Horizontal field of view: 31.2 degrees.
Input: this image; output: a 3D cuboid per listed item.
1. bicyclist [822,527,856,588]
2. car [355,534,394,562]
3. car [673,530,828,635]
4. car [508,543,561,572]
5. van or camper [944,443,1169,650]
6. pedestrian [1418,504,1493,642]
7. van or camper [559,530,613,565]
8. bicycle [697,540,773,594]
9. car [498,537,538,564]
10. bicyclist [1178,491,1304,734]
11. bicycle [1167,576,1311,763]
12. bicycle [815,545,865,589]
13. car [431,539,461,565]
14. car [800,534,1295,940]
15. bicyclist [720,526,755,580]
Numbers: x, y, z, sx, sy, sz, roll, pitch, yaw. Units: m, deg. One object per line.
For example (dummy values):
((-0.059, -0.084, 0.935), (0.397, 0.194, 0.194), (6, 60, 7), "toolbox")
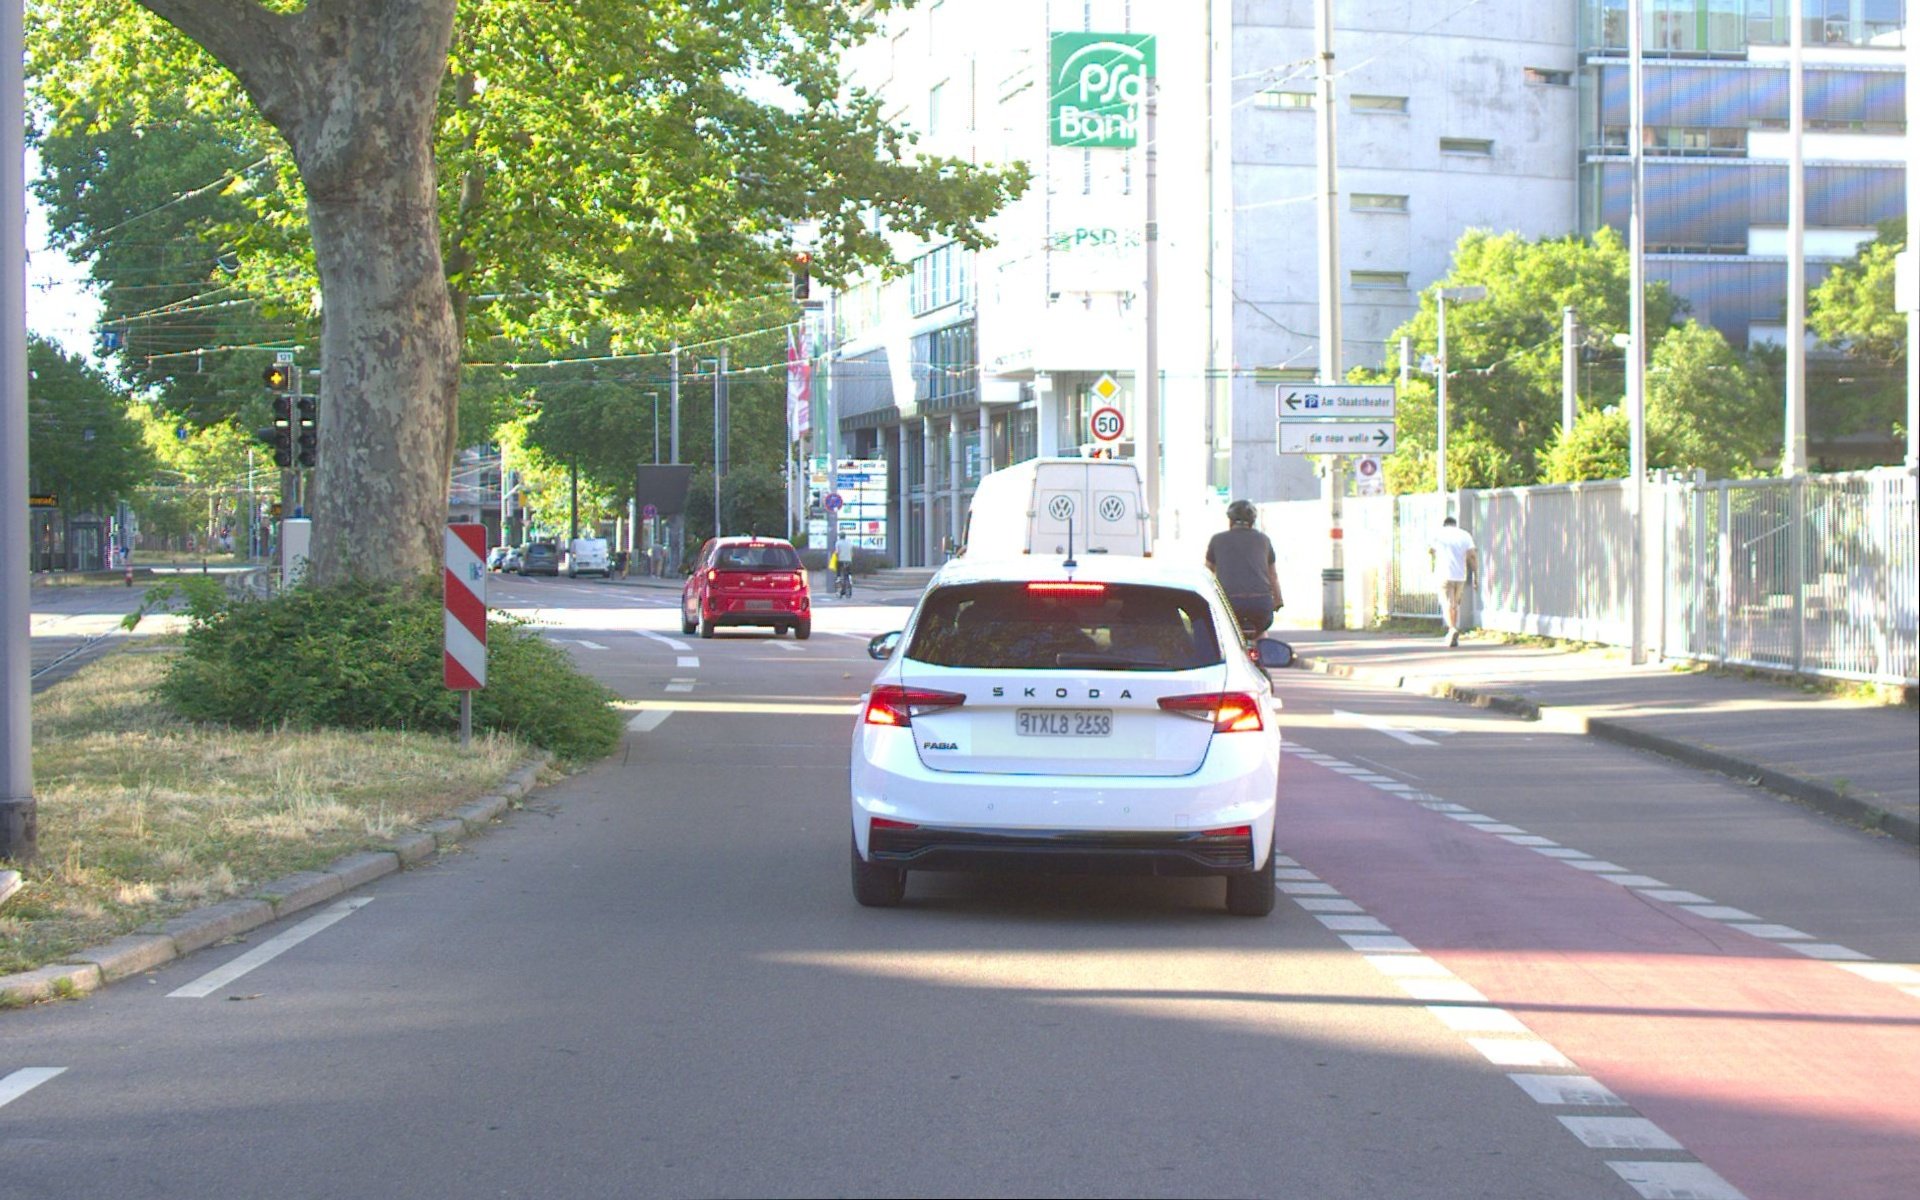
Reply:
((-3.282, -1.154, 93.175), (0.785, 1.629, 0.639), (0, 1, -15), "bicyclist")
((-36.281, -3.235, 213.004), (2.056, 1.648, 3.493), (-1, 1, -16), "car")
((-3.140, -0.288, 50.862), (1.839, 1.484, 3.717), (0, 1, -11), "car")
((-23.412, -2.364, 189.093), (2.477, 1.523, 4.433), (-1, 1, -12), "car")
((1.303, -0.786, 49.972), (2.268, 2.724, 6.348), (2, 1, -7), "van or camper")
((6.381, -0.355, 44.289), (0.786, 1.742, 0.772), (-1, 1, -4), "pedestrian")
((-19.133, -2.704, 175.643), (2.145, 1.744, 4.433), (-1, 1, -14), "van or camper")
((-5.778, -0.855, 88.397), (1.989, 1.374, 0.647), (-2, 2, -45), "bicycle")
((-26.472, -2.972, 205.683), (1.884, 1.523, 4.433), (-1, 1, -14), "car")
((1.969, 0.080, 24.173), (0.743, 1.663, 0.745), (2, 1, -2), "bicyclist")
((1.956, 0.464, 24.396), (0.743, 1.220, 2.156), (2, 1, -2), "bicycle")
((-3.262, -0.902, 93.132), (0.792, 1.157, 2.501), (0, 1, -15), "bicycle")
((-31.633, -2.964, 211.532), (1.657, 1.601, 3.532), (-1, 1, -12), "car")
((0.517, 0.482, 14.939), (1.802, 1.496, 3.980), (1, 1, 6), "car")
((-5.724, -1.204, 88.441), (0.605, 1.384, 0.636), (-2, 2, -45), "bicyclist")
